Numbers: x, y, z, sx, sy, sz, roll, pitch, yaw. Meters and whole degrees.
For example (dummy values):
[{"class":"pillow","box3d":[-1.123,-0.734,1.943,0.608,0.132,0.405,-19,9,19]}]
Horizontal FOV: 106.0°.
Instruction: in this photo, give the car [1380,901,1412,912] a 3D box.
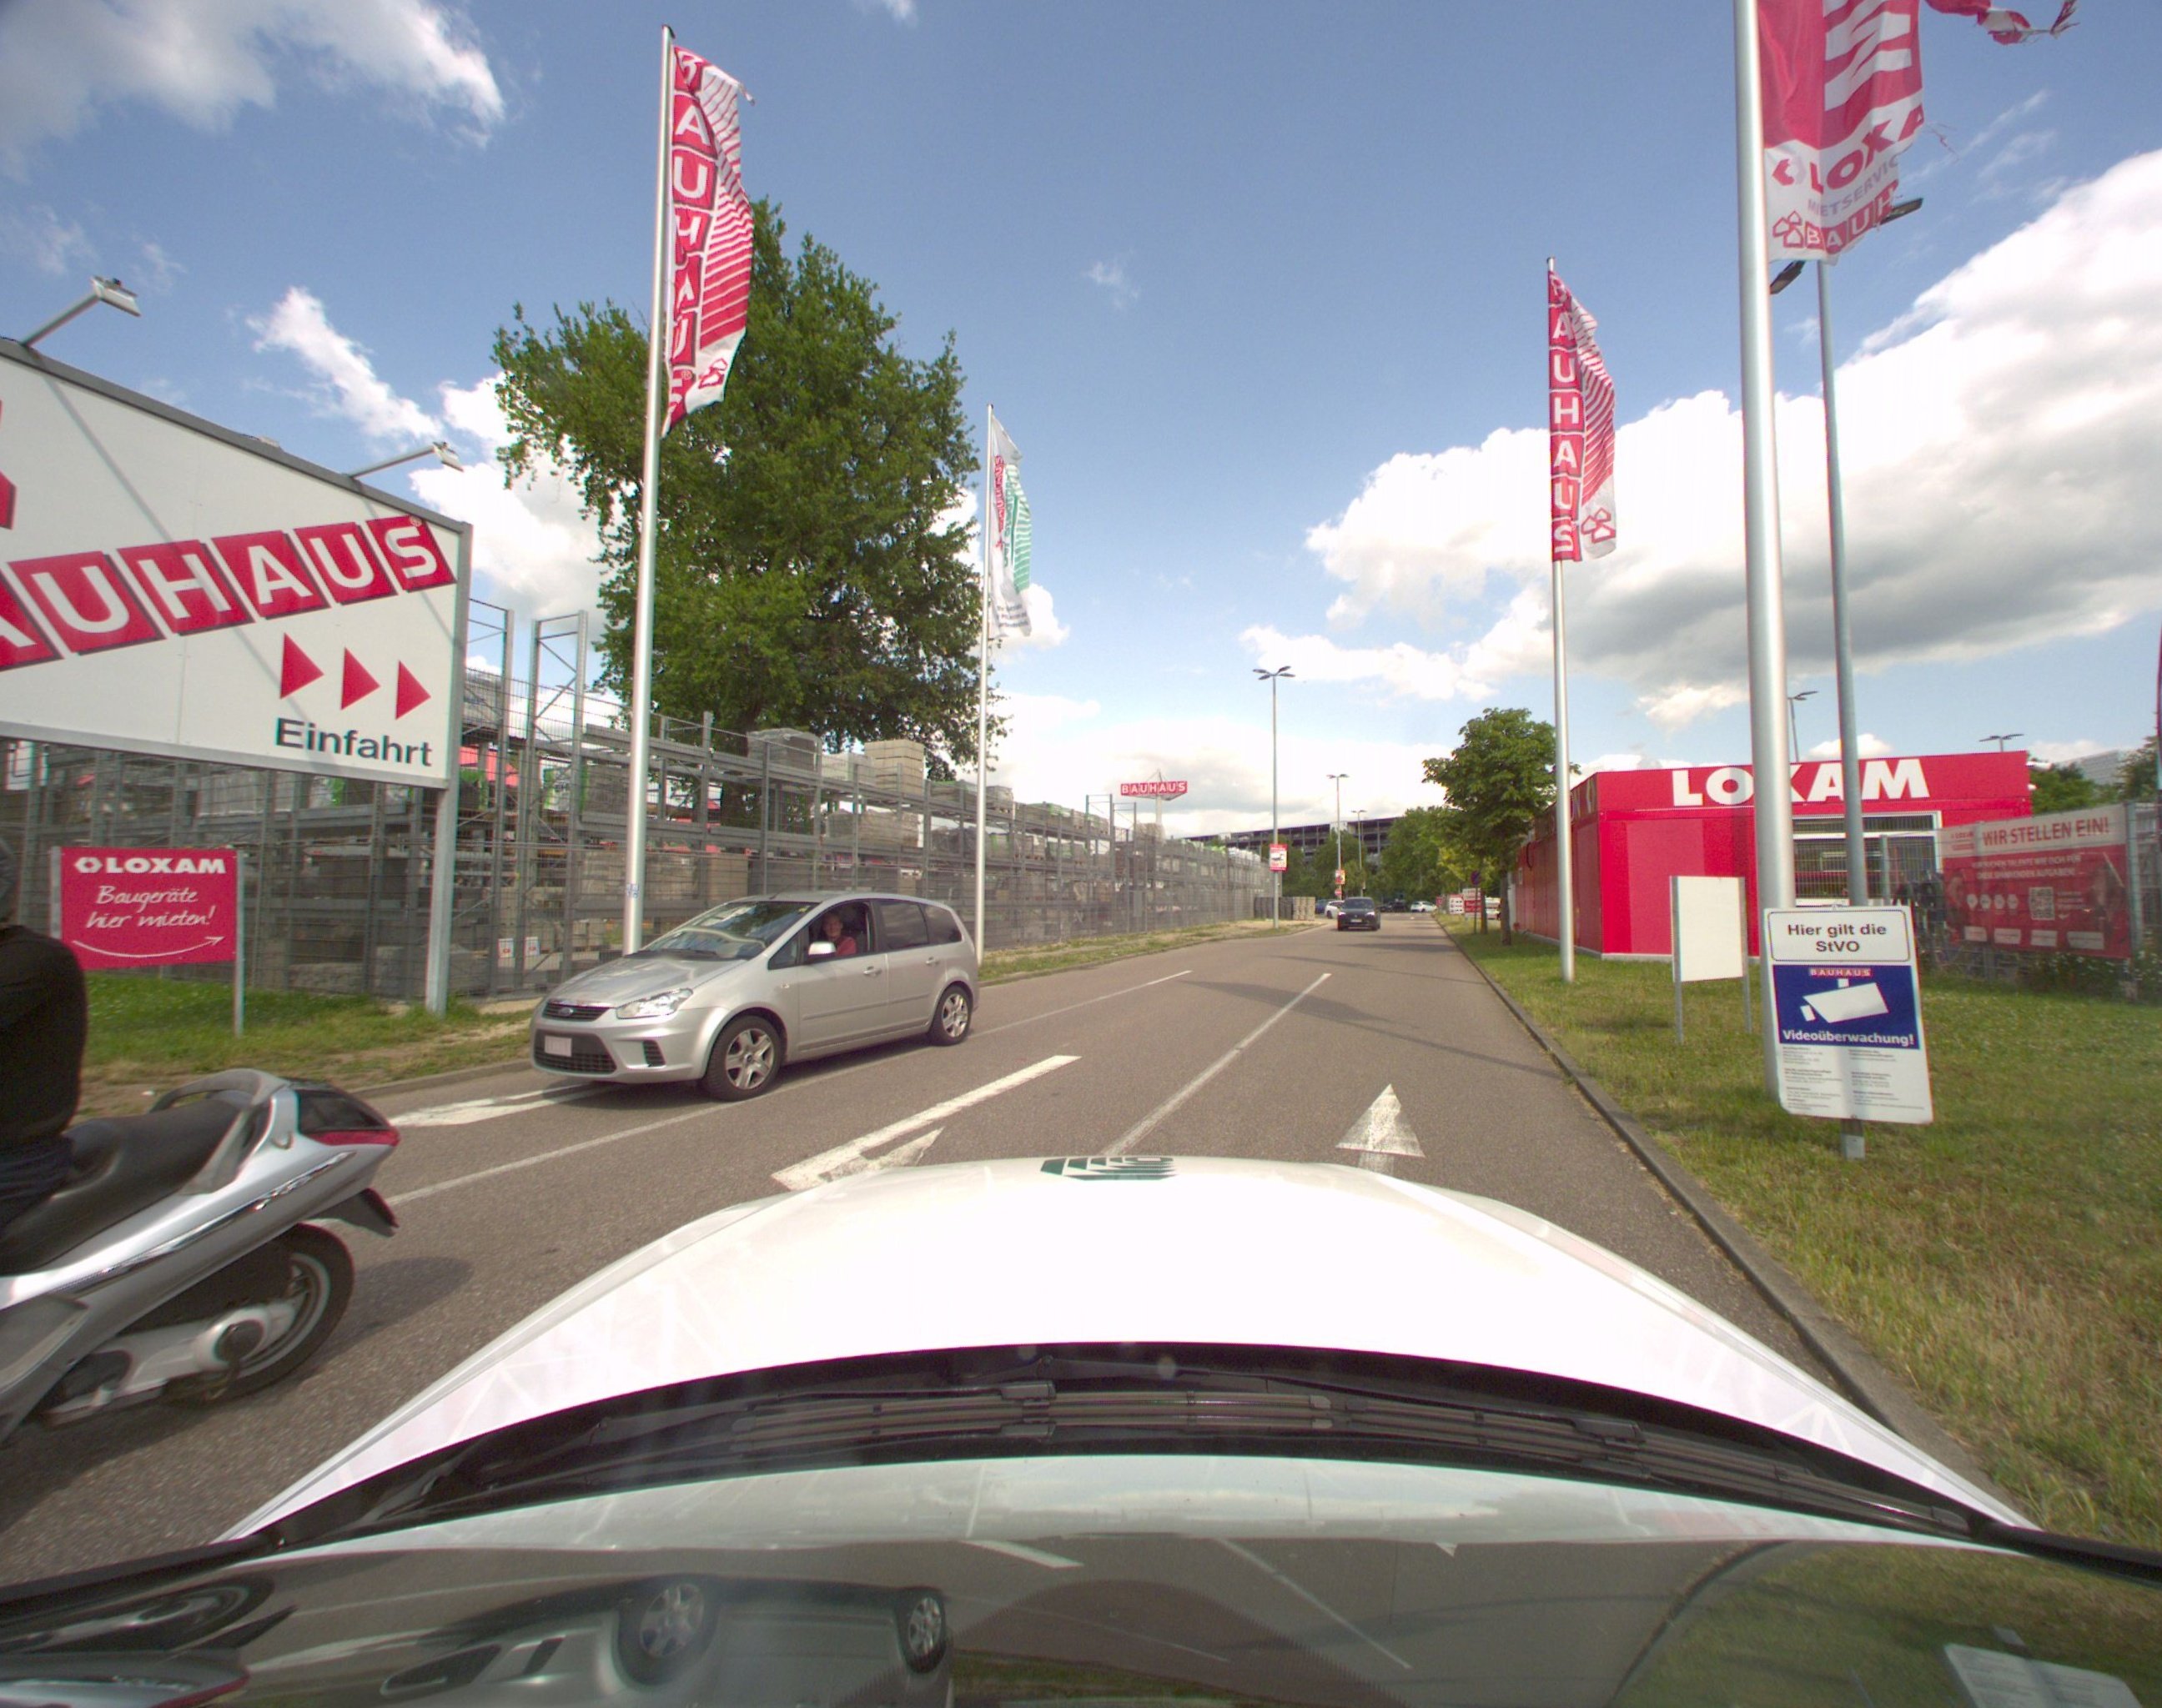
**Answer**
[{"class":"car","box3d":[41.126,6.843,106.213,4.258,1.411,1.715,2,-4,-33]}]

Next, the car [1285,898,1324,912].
[{"class":"car","box3d":[23.076,5.265,84.003,3.717,1.368,1.629,-2,-4,22]}]

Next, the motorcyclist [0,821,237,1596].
[{"class":"motorcyclist","box3d":[-2.649,0.753,1.878,0.779,1.629,0.690,-2,-4,26]}]

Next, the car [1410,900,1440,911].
[{"class":"car","box3d":[43.284,6.495,102.432,3.566,1.412,1.654,2,-4,-29]}]

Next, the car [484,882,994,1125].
[{"class":"car","box3d":[-2.689,1.092,7.562,1.701,1.565,4.233,-2,-4,27]}]

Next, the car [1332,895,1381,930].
[{"class":"car","box3d":[13.827,2.875,40.707,1.898,1.618,4.397,-2,-3,23]}]

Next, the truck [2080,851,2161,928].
[{"class":"truck","box3d":[51.620,1.633,37.785,2.697,3.599,9.085,-2,-4,24]}]

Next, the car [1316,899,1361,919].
[{"class":"car","box3d":[19.902,4.254,62.956,2.857,1.515,1.542,-3,-5,42]}]

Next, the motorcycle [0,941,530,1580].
[{"class":"motorcycle","box3d":[-2.657,0.915,1.871,0.664,1.306,2.225,-2,-4,26]}]
